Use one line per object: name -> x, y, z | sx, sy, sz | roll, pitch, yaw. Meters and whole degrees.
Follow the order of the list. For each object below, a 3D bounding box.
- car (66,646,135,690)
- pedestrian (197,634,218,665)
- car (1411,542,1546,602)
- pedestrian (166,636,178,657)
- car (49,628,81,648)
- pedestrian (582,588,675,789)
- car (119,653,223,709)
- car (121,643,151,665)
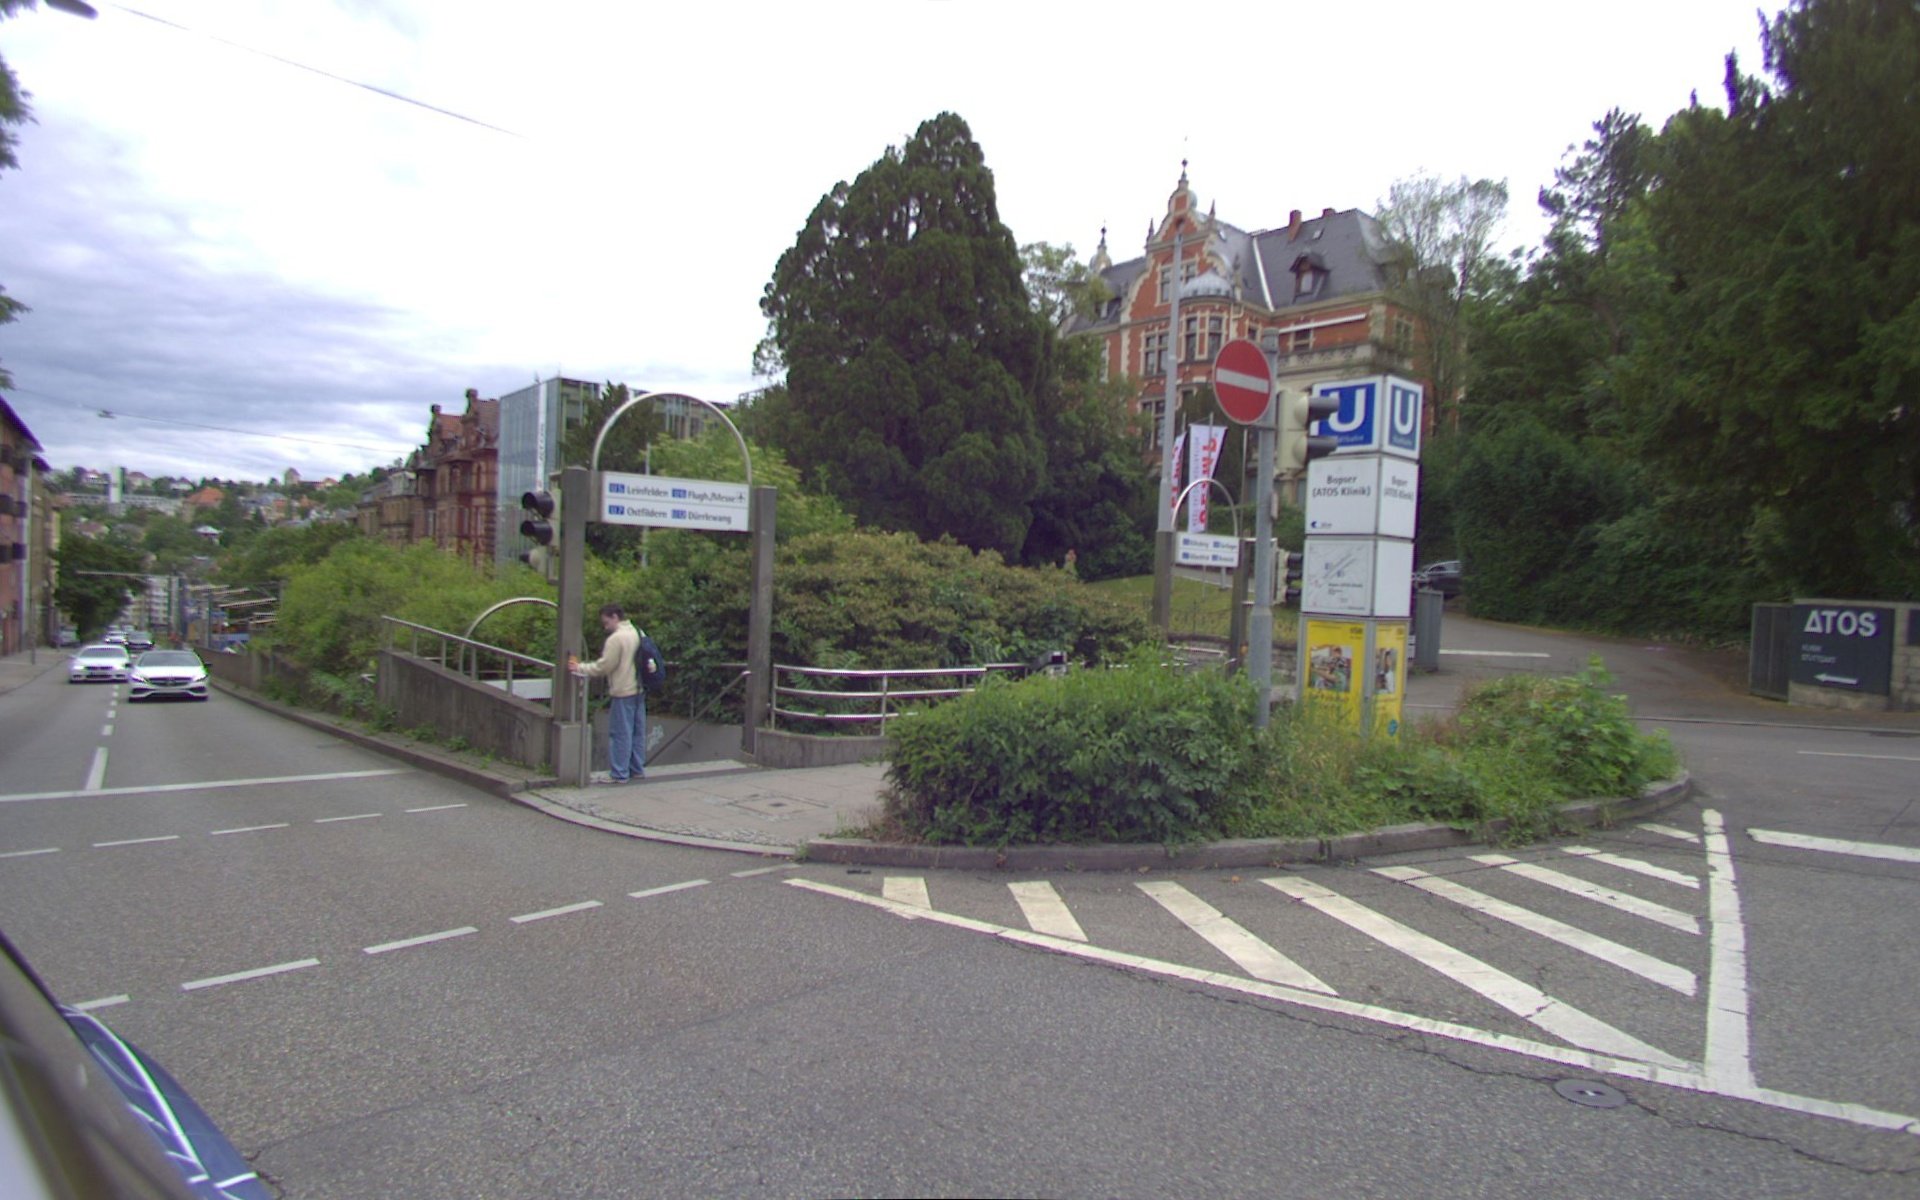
car -> -33.908, 2.635, 39.943 | 1.969, 1.499, 4.236 | -1, -1, -41
pedestrian -> -43.802, 2.871, 58.883 | 0.802, 1.791, 0.807 | -2, -3, 42
car -> 18.896, -0.974, 36.933 | 3.999, 2.029, 1.972 | -1, 0, 42
pedestrian -> -63.844, 3.786, 82.003 | 0.670, 1.693, 0.686 | 2, -2, -43
car -> -79.963, 3.415, 90.443 | 1.834, 1.724, 4.316 | 3, -4, -39
pedestrian -> -3.249, 0.844, 9.915 | 0.695, 1.875, 0.616 | 2, -3, -33
car -> -22.626, 2.265, 28.964 | 1.969, 1.409, 4.234 | 4, -4, -42
car -> -67.659, 4.431, 83.160 | 1.853, 1.751, 4.007 | 2, -3, -39
